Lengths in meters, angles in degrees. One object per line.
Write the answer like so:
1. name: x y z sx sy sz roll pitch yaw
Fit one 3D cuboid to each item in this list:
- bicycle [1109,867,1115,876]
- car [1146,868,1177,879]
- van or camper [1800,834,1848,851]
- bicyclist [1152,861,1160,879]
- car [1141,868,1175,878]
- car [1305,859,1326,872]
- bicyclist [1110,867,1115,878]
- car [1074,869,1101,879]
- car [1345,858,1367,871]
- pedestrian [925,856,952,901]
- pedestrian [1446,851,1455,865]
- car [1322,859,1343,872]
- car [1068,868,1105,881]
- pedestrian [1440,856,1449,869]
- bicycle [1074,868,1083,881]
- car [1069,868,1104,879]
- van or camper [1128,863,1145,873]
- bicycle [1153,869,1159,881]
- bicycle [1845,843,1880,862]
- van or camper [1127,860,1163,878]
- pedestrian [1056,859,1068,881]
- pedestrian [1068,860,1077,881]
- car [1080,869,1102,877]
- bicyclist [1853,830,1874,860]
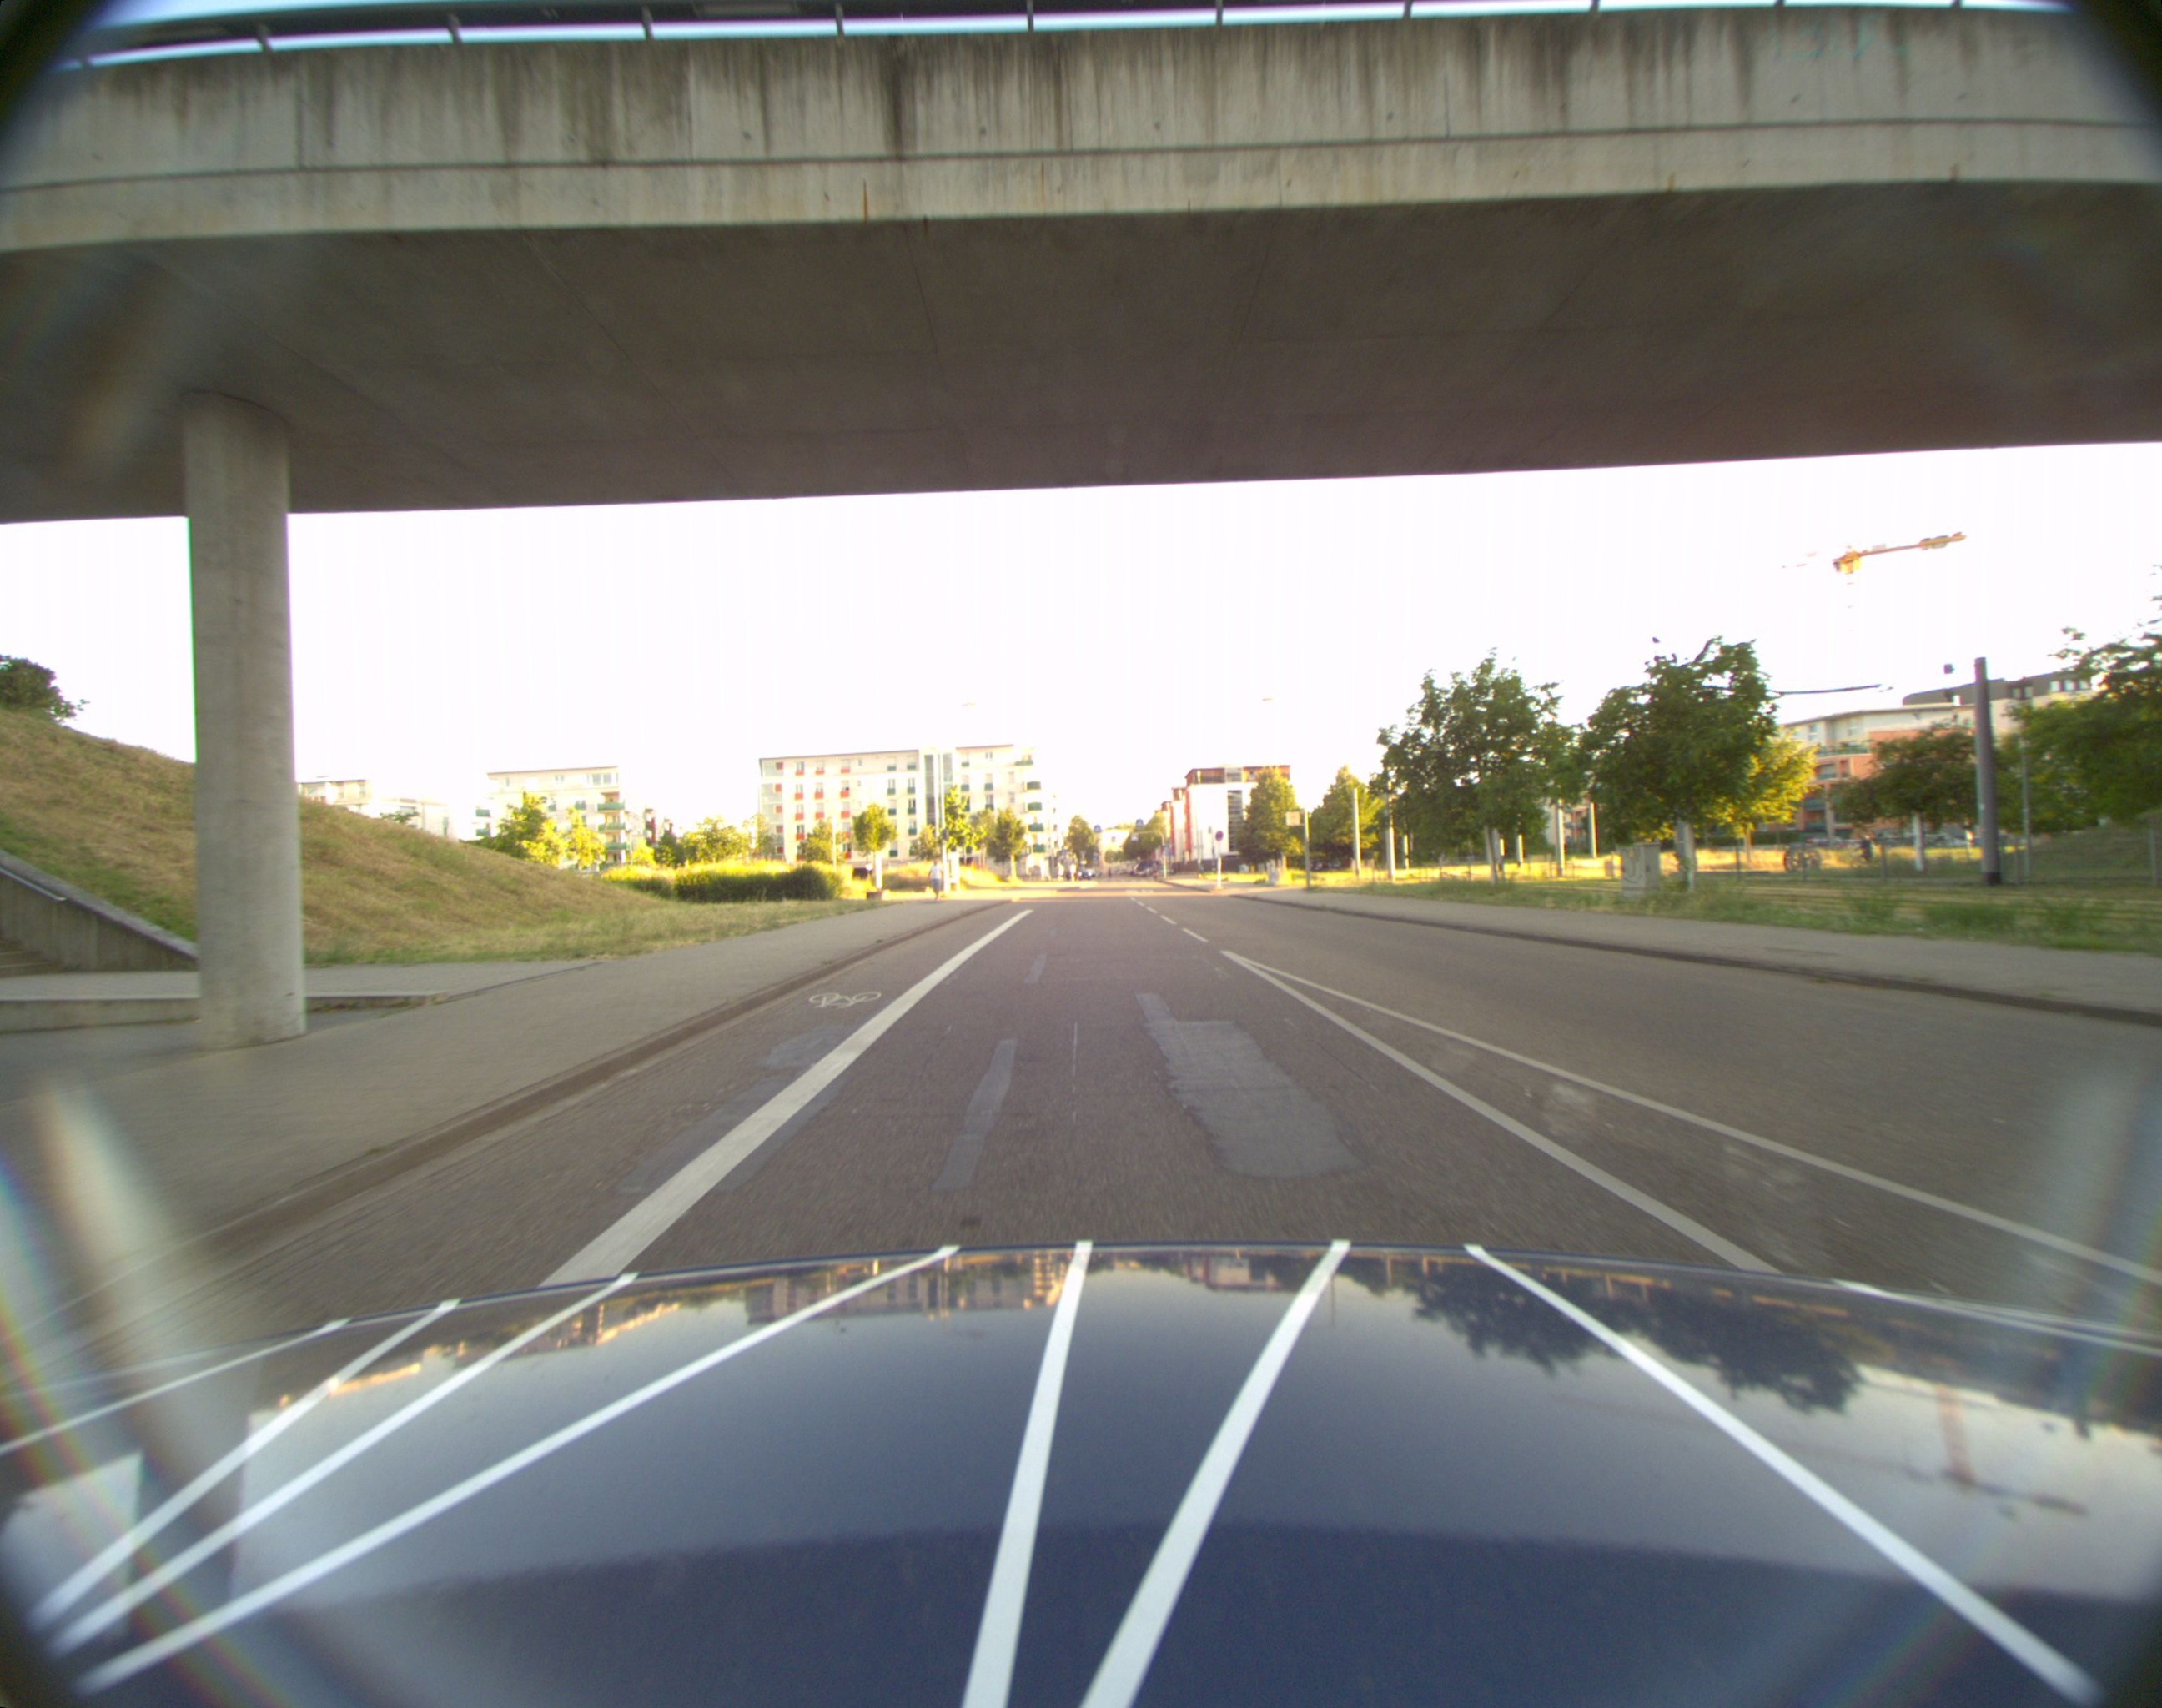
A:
1. bicycle: 4.685 2.608 113.574 0.771 1.259 1.782 -2 -2 1
2. car: 11.710 2.850 110.357 4.291 1.449 1.681 1 -2 0
3. van or camper: 86.002 -1.287 87.993 1.832 1.684 3.882 -2 -2 5
4. bicyclist: 7.121 1.549 72.244 0.616 1.652 1.037 -2 -2 5
5. car: 11.564 2.850 113.937 4.915 1.469 1.711 0 -2 0
6. car: 28.953 1.446 93.805 1.689 1.513 3.412 -2 -1 4
7. bicyclist: 4.693 2.763 113.515 0.767 1.617 0.663 -2 -2 1
8. car: 1.074 3.272 123.636 4.294 1.498 1.686 1 -1 -1
9. car: 33.652 1.268 92.899 1.593 1.491 3.412 -2 -1 4
10. pedestrian: -5.672 0.971 30.242 0.833 1.756 0.818 1 0 9
11. pedestrian: 46.002 0.524 94.611 0.744 1.657 0.623 -4 0 -37
12. car: 30.908 1.378 93.537 1.593 1.491 3.412 -2 -1 4
13. car: 0.626 2.240 83.227 1.773 1.453 4.188 -1 -2 40
14. pedestrian: 45.572 1.056 95.203 0.714 1.590 0.655 -4 0 -35
15. bicycle: -0.206 1.789 65.862 0.451 1.161 1.942 -2 -2 7
16. car: 0.837 2.866 110.738 4.885 1.449 1.939 0 -2 4
17. van or camper: 14.081 3.473 193.342 4.250 2.519 1.761 0 -1 3
18. bicycle: 7.085 1.980 71.958 0.539 1.036 1.926 -2 -2 5
19. bicycle: 39.699 -0.087 38.592 1.235 0.894 0.431 -2 -2 1
20. van or camper: 11.816 2.821 141.207 6.314 3.068 2.442 -3 -1 -3
21. pedestrian: -1.510 1.326 61.371 0.801 1.719 0.768 -3 -2 10
22. pedestrian: -0.710 1.411 65.947 0.595 1.790 0.818 -2 -2 8
23. car: 1.892 3.778 148.652 4.250 1.527 1.693 0 -1 3
24. bicyclist: 39.755 -0.477 38.598 0.513 1.485 0.424 -2 -1 2
